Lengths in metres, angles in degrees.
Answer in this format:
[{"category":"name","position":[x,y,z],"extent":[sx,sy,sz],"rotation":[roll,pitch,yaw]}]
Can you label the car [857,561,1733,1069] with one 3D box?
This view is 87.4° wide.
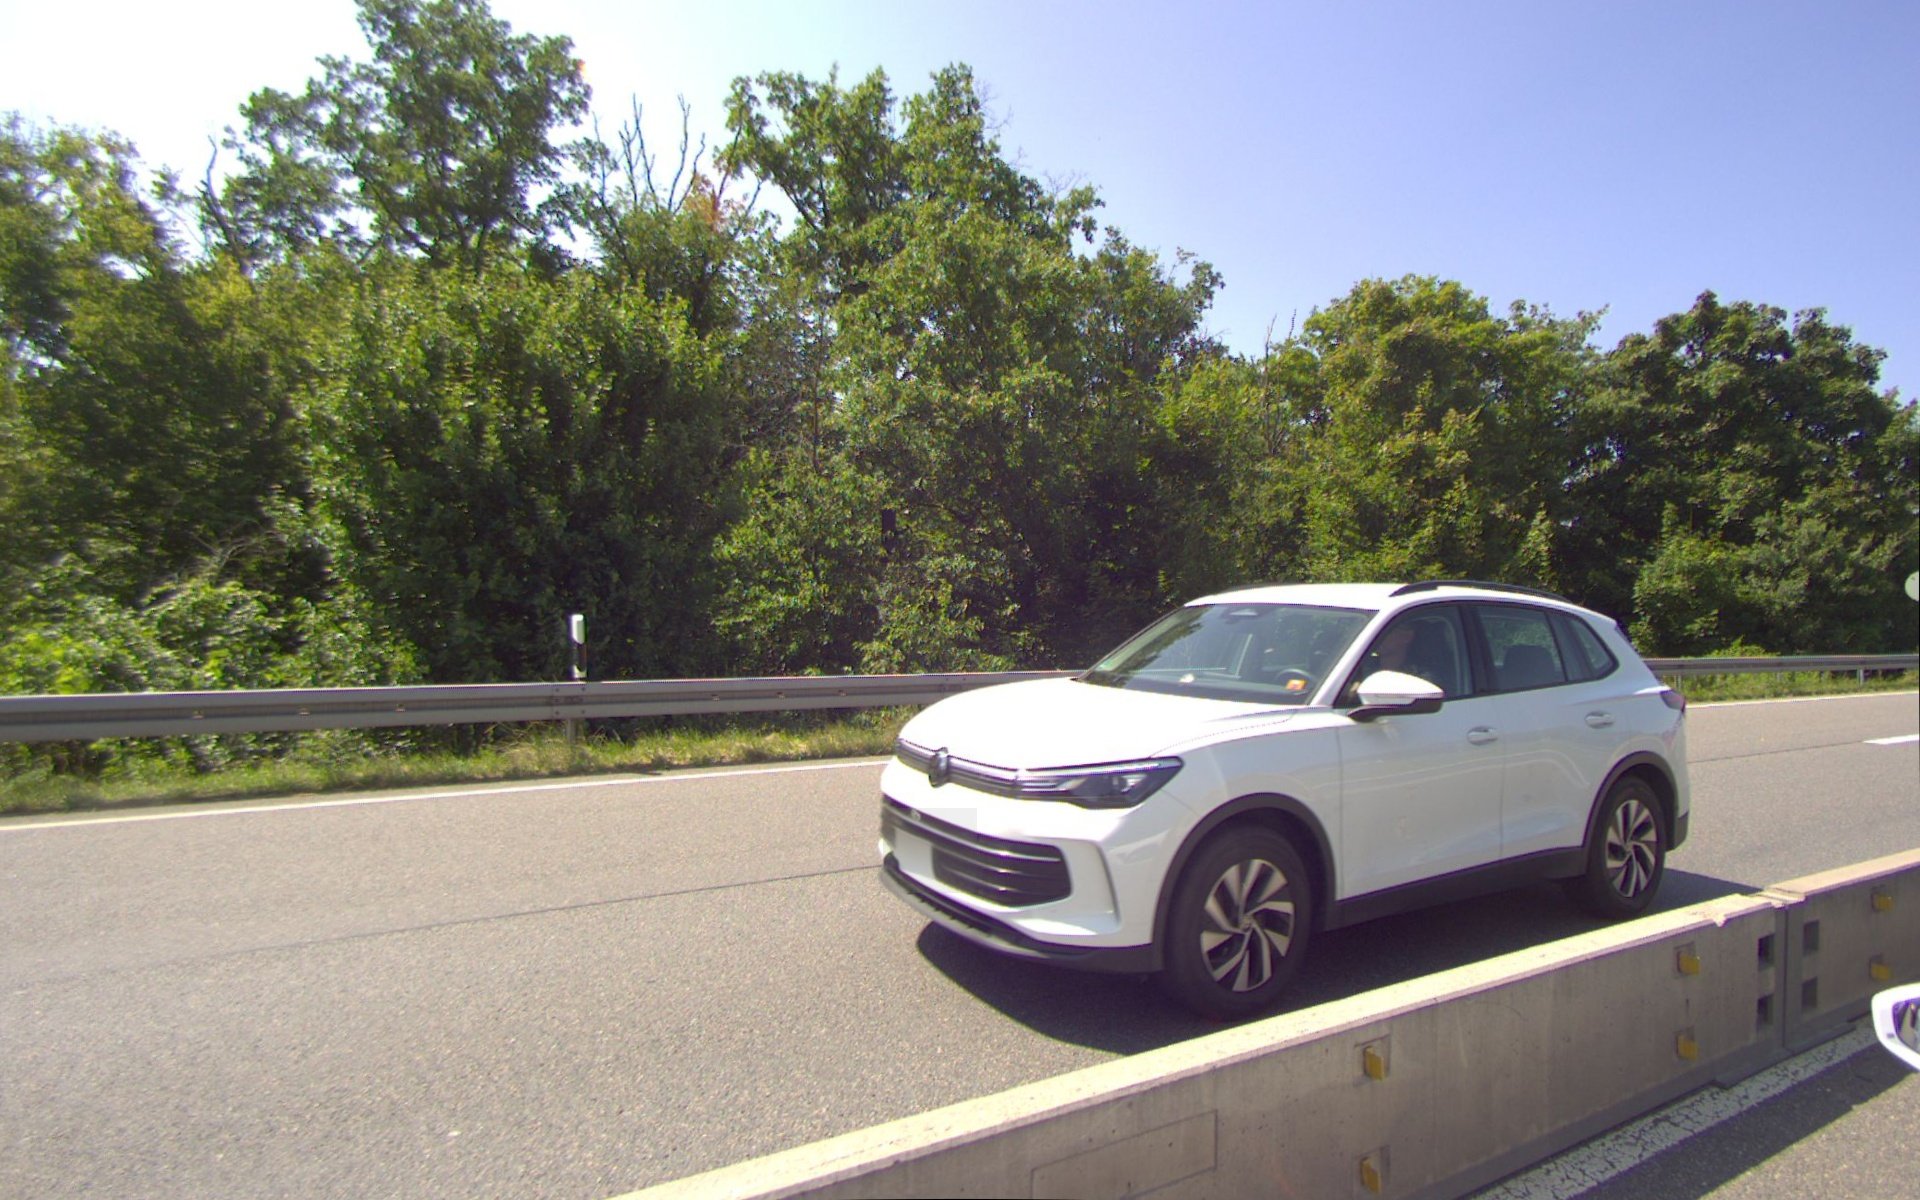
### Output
[{"category":"car","position":[1.812,0.725,5.084],"extent":[4.270,1.622,1.840],"rotation":[1,0,-30]}]
